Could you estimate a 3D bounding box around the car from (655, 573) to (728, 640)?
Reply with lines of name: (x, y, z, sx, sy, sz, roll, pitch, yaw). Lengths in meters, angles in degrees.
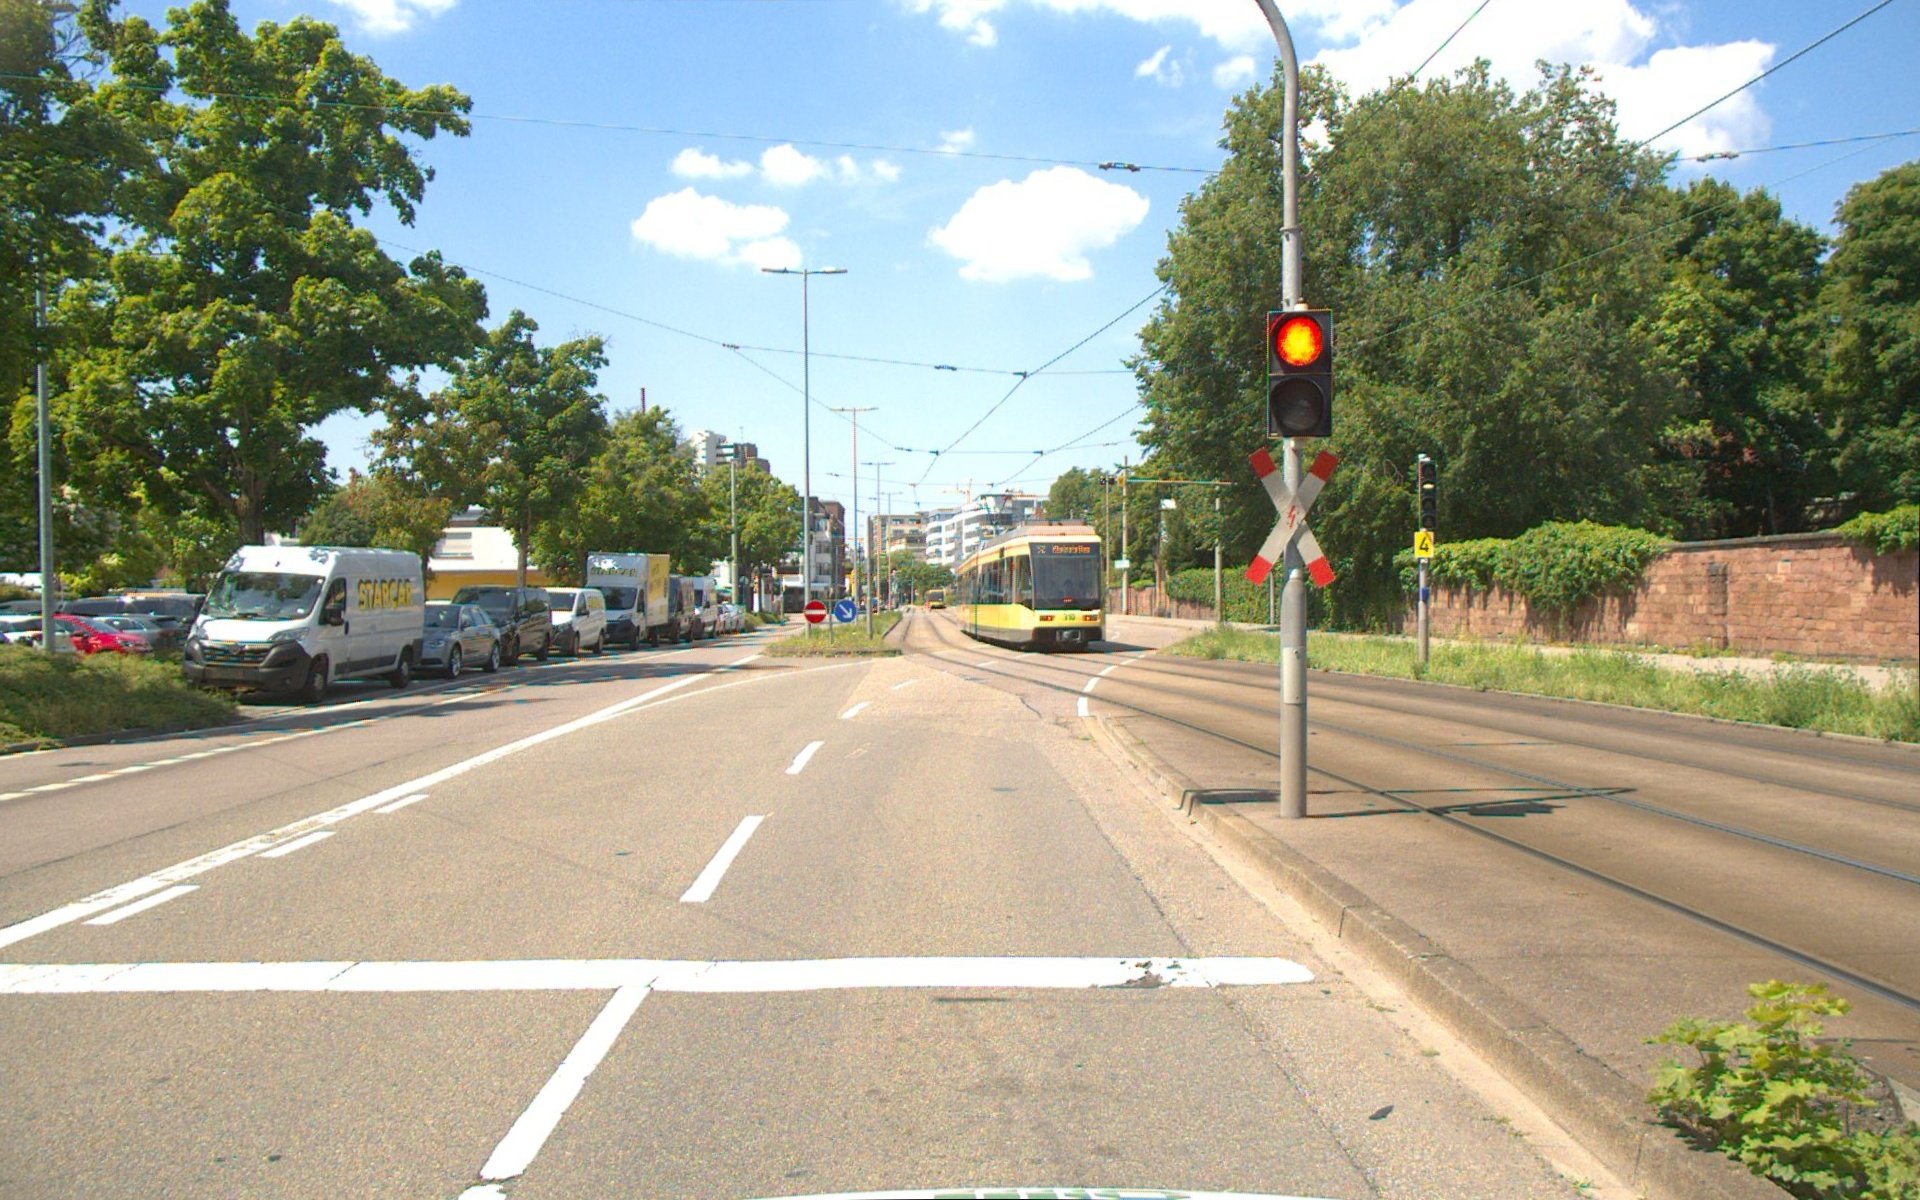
car: (-11.630, 0.262, 72.050, 2.112, 2.685, 5.612, 2, 0, 1)

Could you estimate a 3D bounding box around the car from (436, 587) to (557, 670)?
car: (-11.435, 0.666, 41.106, 1.830, 1.928, 4.270, -1, 0, -1)

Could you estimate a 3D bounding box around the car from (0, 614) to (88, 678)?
car: (-22.127, 1.048, 37.327, 3.907, 1.362, 1.804, -1, 0, -3)

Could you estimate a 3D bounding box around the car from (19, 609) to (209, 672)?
car: (-21.675, 1.021, 42.489, 3.907, 1.467, 1.804, -1, 0, -2)

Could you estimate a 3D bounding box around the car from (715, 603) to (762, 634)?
car: (-12.377, 1.025, 92.761, 2.019, 1.609, 4.870, -1, 0, -1)

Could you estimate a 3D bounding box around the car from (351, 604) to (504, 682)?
car: (-11.067, 0.847, 34.703, 1.830, 1.462, 4.342, -1, 0, -1)

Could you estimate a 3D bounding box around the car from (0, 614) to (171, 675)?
car: (-21.465, 1.071, 39.938, 3.907, 1.362, 1.804, -1, 0, -3)

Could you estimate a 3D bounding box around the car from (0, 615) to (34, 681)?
car: (-21.906, 1.045, 34.696, 3.907, 1.362, 1.804, -1, 0, -3)

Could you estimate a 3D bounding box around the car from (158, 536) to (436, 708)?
car: (-11.120, 0.321, 28.394, 2.112, 2.530, 6.193, 2, 0, 1)

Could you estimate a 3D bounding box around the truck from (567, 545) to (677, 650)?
truck: (-11.431, -0.089, 56.526, 2.112, 3.266, 7.083, 2, 0, 1)

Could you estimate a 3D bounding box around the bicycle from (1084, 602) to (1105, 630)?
bicycle: (9.427, 1.094, 116.182, 1.070, 1.941, 3.681, -1, 0, 0)

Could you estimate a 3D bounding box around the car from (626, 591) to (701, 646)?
car: (-11.409, 0.671, 63.948, 2.019, 2.011, 4.870, -1, 0, -1)

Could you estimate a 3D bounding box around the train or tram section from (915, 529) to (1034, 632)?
train or tram section: (0.268, -0.759, 70.629, 2.887, 3.756, 20.258, 0, 0, -6)

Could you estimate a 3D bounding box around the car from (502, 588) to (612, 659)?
car: (-11.609, 0.644, 47.952, 2.019, 1.931, 4.870, -1, 0, -1)

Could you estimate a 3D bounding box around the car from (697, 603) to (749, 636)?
car: (-12.269, 0.988, 85.847, 2.019, 1.609, 4.870, -1, 0, -1)

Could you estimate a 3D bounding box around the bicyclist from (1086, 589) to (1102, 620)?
bicyclist: (9.393, 0.298, 116.089, 1.074, 2.145, 1.031, 0, -1, -1)

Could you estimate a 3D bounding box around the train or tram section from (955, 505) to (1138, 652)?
train or tram section: (2.208, -0.595, 51.473, 2.887, 3.756, 18.366, 0, 0, -6)
